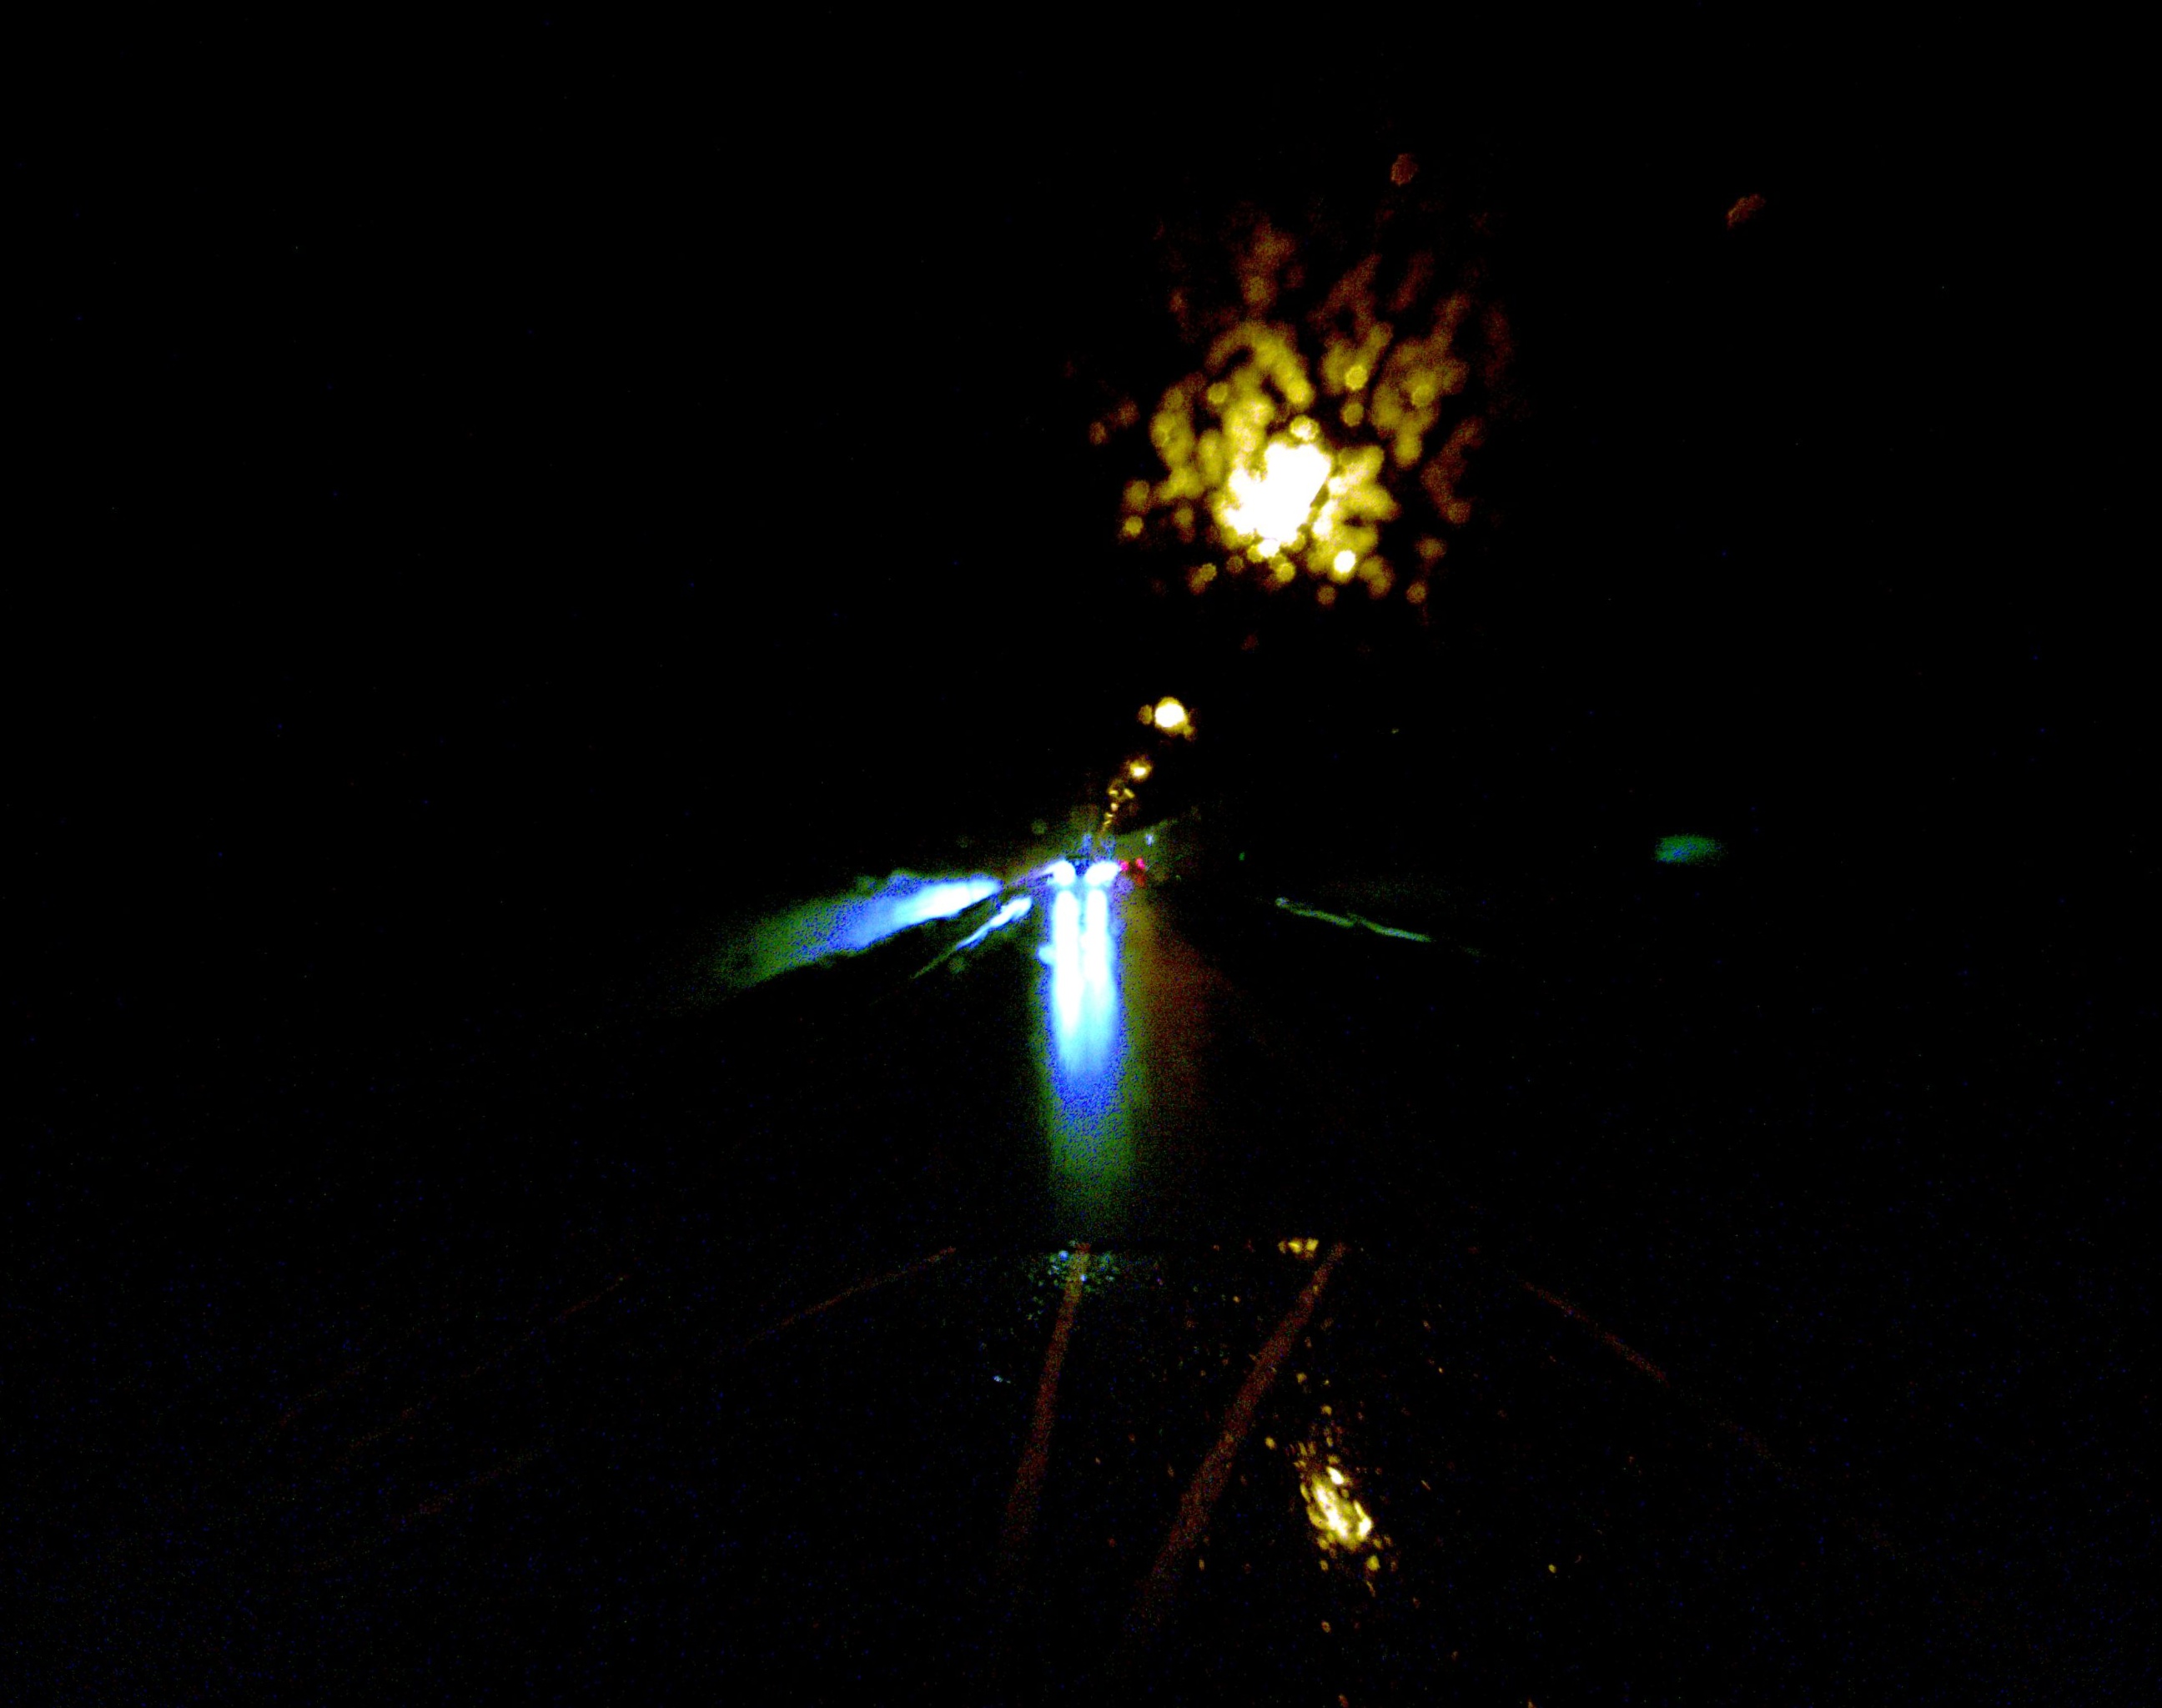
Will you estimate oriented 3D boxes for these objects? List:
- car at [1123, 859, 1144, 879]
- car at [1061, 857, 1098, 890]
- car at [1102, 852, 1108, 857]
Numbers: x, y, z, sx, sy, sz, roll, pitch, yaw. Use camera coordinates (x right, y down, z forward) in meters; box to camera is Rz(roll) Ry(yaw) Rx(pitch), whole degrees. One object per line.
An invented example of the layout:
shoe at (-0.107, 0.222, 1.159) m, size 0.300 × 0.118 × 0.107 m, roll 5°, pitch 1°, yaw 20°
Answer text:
car at (4.365, 1.225, 63.854) m, size 1.639 × 1.593 × 4.146 m, roll 0°, pitch -1°, yaw 2°
car at (-0.035, 0.889, 35.905) m, size 1.627 × 1.487 × 3.586 m, roll 0°, pitch -1°, yaw 2°
car at (7.426, 0.097, 233.648) m, size 1.639 × 1.526 × 3.647 m, roll 0°, pitch -1°, yaw 2°
